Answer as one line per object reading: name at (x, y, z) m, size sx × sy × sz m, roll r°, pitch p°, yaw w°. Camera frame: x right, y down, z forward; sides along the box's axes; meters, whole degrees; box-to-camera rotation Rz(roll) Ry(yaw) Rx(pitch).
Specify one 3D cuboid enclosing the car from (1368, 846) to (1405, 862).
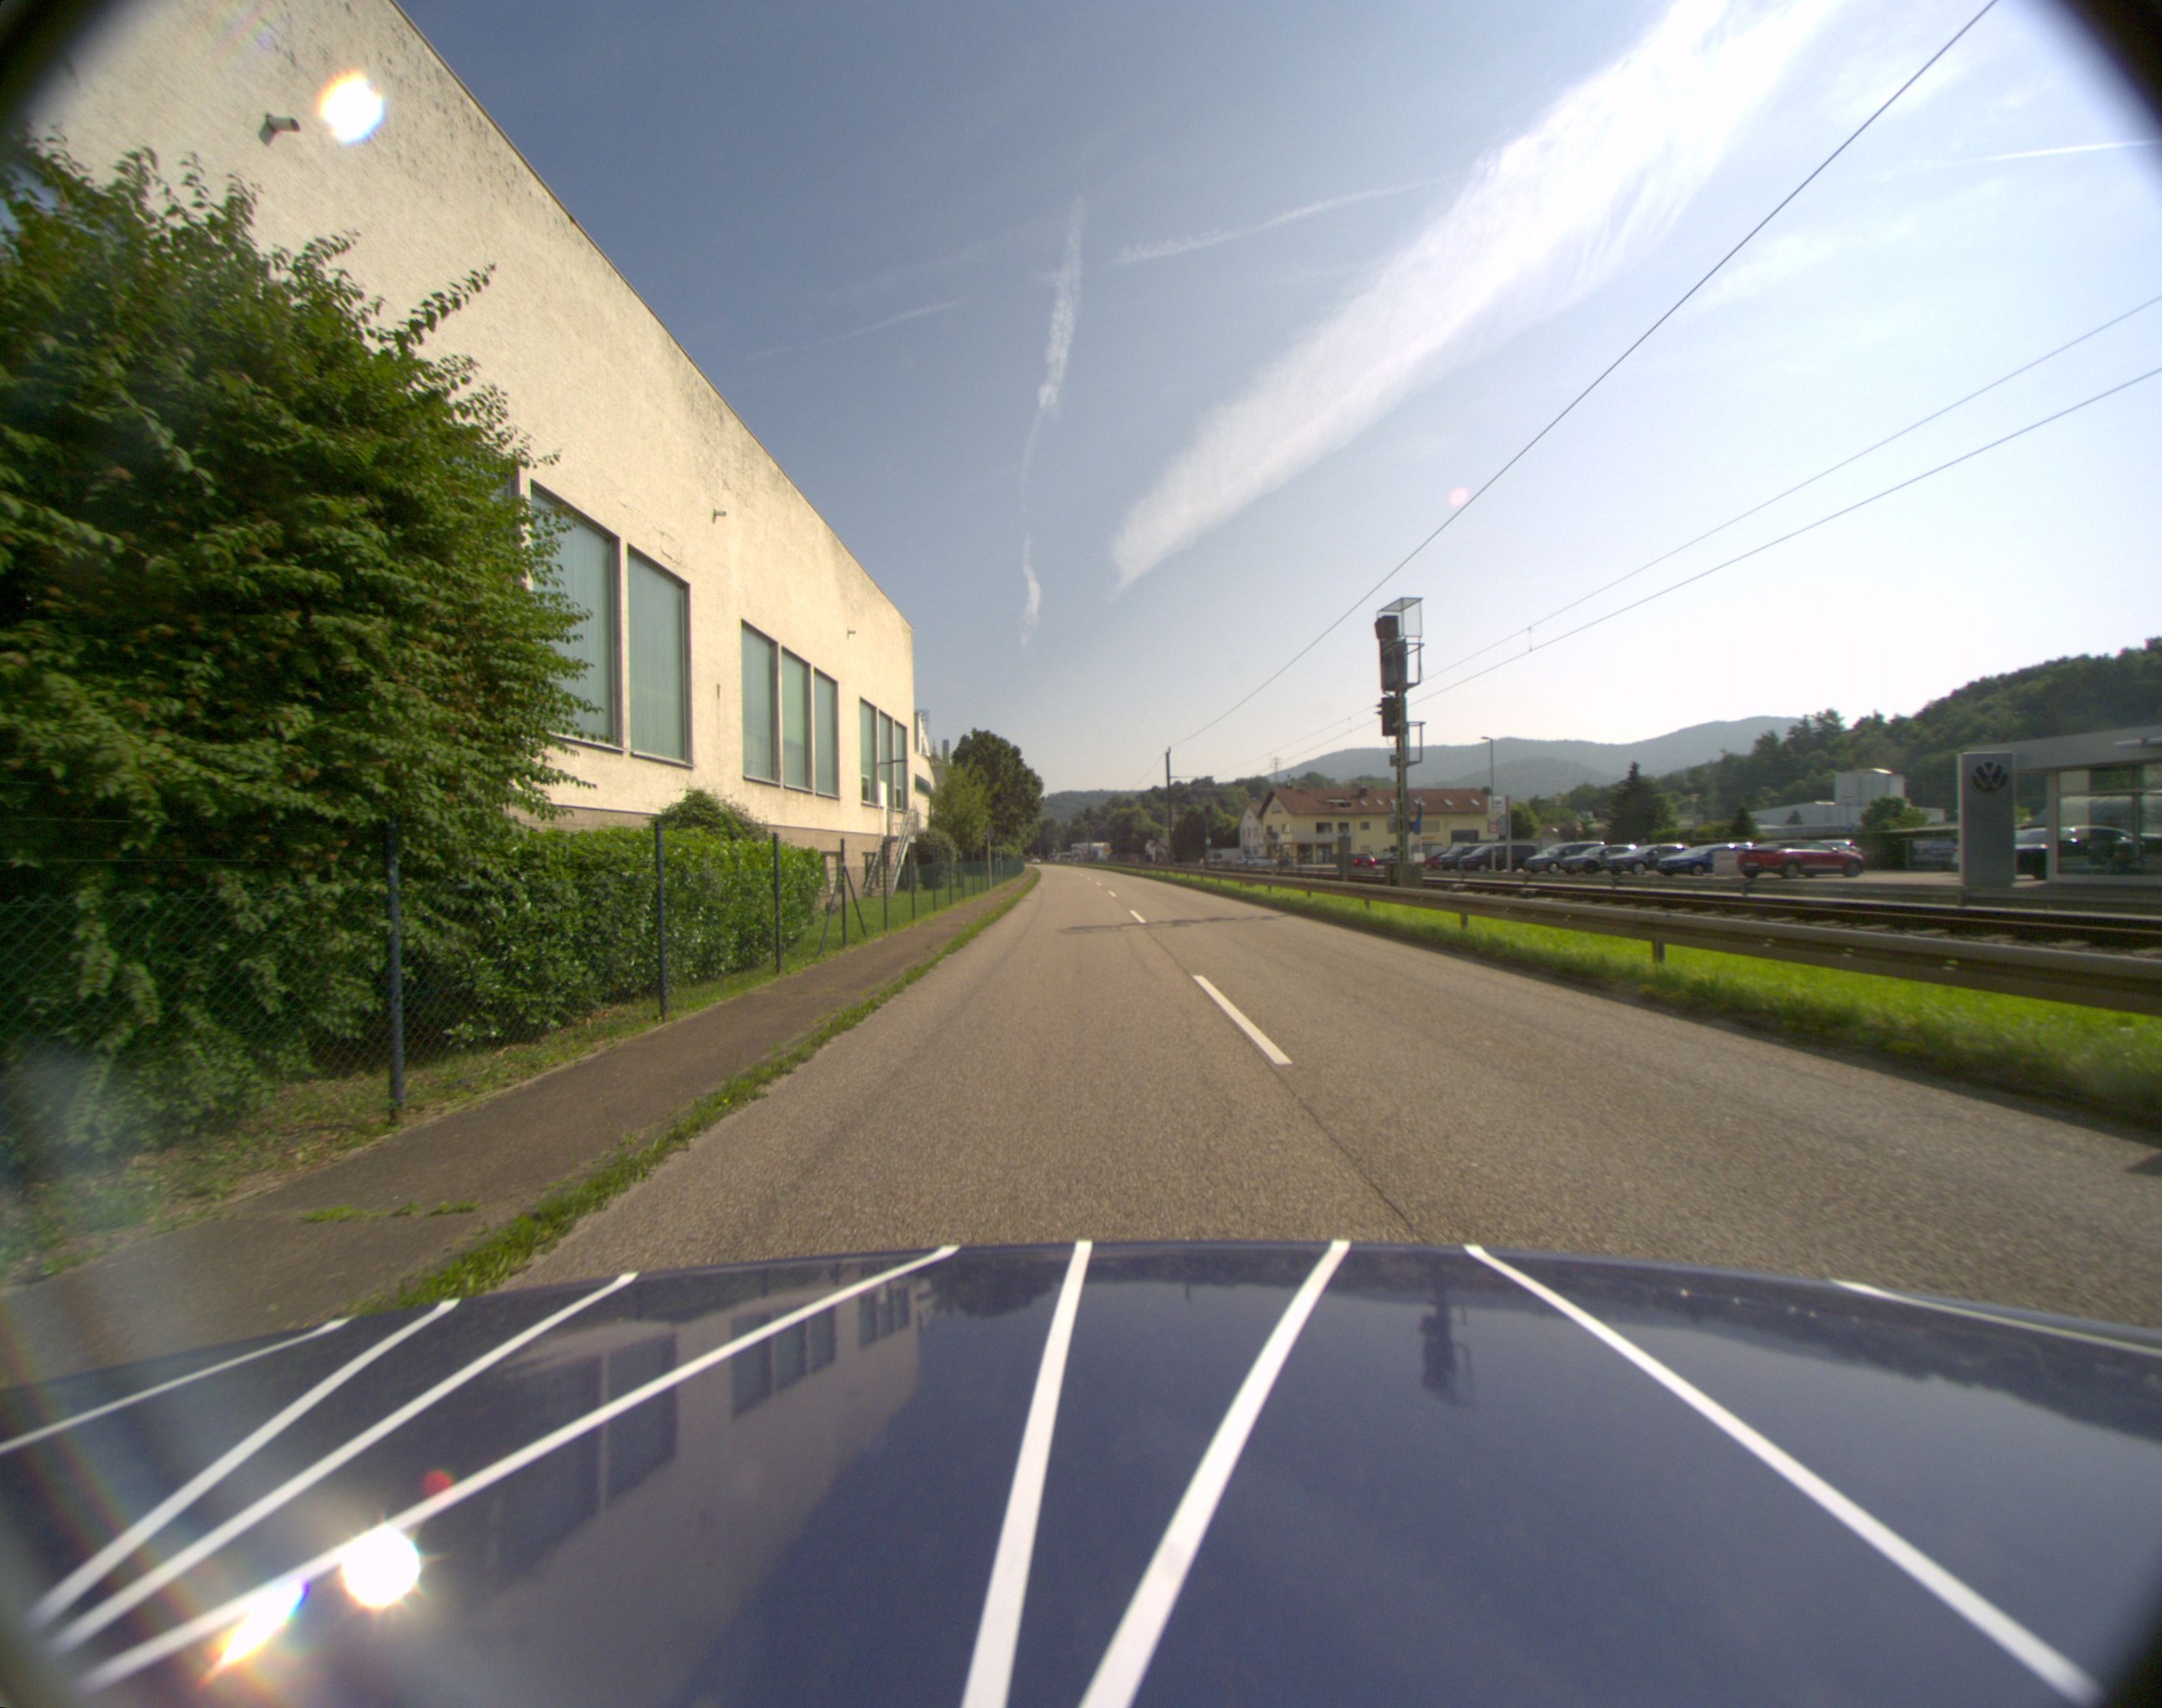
car at (32.165, 0.006, 79.995) m, size 3.540 × 1.566 × 1.651 m, roll -1°, pitch 0°, yaw 20°

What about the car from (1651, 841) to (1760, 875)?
car at (28.705, 0.170, 34.949) m, size 4.001 × 1.451 × 1.759 m, roll -1°, pitch 0°, yaw -12°

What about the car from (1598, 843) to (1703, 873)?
car at (28.668, 0.198, 38.328) m, size 3.997 × 1.451 × 1.760 m, roll -1°, pitch 0°, yaw -1°

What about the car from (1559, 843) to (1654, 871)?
car at (28.702, 0.185, 41.565) m, size 3.997 × 1.451 × 1.760 m, roll -1°, pitch 0°, yaw -1°

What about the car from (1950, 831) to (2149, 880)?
car at (30.594, 0.037, 24.083) m, size 3.997 × 1.451 × 1.861 m, roll -1°, pitch 0°, yaw -1°

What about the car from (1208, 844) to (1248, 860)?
car at (22.342, -0.300, 115.777) m, size 5.587 × 2.403 × 2.236 m, roll -1°, pitch 0°, yaw -4°

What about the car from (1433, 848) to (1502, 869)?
car at (27.382, 0.325, 53.947) m, size 3.997 × 1.451 × 1.760 m, roll -1°, pitch 0°, yaw -1°

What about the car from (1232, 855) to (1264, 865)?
car at (22.477, 0.803, 102.301) m, size 3.857 × 1.292 × 1.648 m, roll -1°, pitch 0°, yaw -6°

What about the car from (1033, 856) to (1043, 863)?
car at (-10.501, 1.344, 185.791) m, size 2.000 × 1.696 × 3.996 m, roll -1°, pitch 0°, yaw -12°

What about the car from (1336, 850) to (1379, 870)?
car at (20.363, 0.423, 56.087) m, size 1.859 × 1.451 × 4.001 m, roll -1°, pitch 0°, yaw 3°

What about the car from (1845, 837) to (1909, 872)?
car at (34.885, 0.027, 33.385) m, size 1.755 × 1.451 × 4.008 m, roll -1°, pitch 0°, yaw 44°

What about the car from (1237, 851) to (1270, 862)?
car at (22.527, 0.313, 99.500) m, size 3.857 × 1.292 × 1.648 m, roll -1°, pitch 0°, yaw -6°

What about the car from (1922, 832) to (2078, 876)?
car at (35.768, 0.002, 29.647) m, size 3.999 × 1.572 × 1.999 m, roll -1°, pitch 0°, yaw -6°

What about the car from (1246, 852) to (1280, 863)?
car at (23.124, 0.388, 96.746) m, size 3.857 × 1.292 × 1.648 m, roll -1°, pitch 0°, yaw -6°

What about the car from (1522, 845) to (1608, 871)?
car at (28.698, 0.212, 45.137) m, size 3.997 × 1.451 × 1.760 m, roll -1°, pitch 0°, yaw -1°

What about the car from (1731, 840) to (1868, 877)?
car at (28.920, 0.172, 30.638) m, size 3.999 × 1.367 × 1.860 m, roll -1°, pitch 0°, yaw -6°
